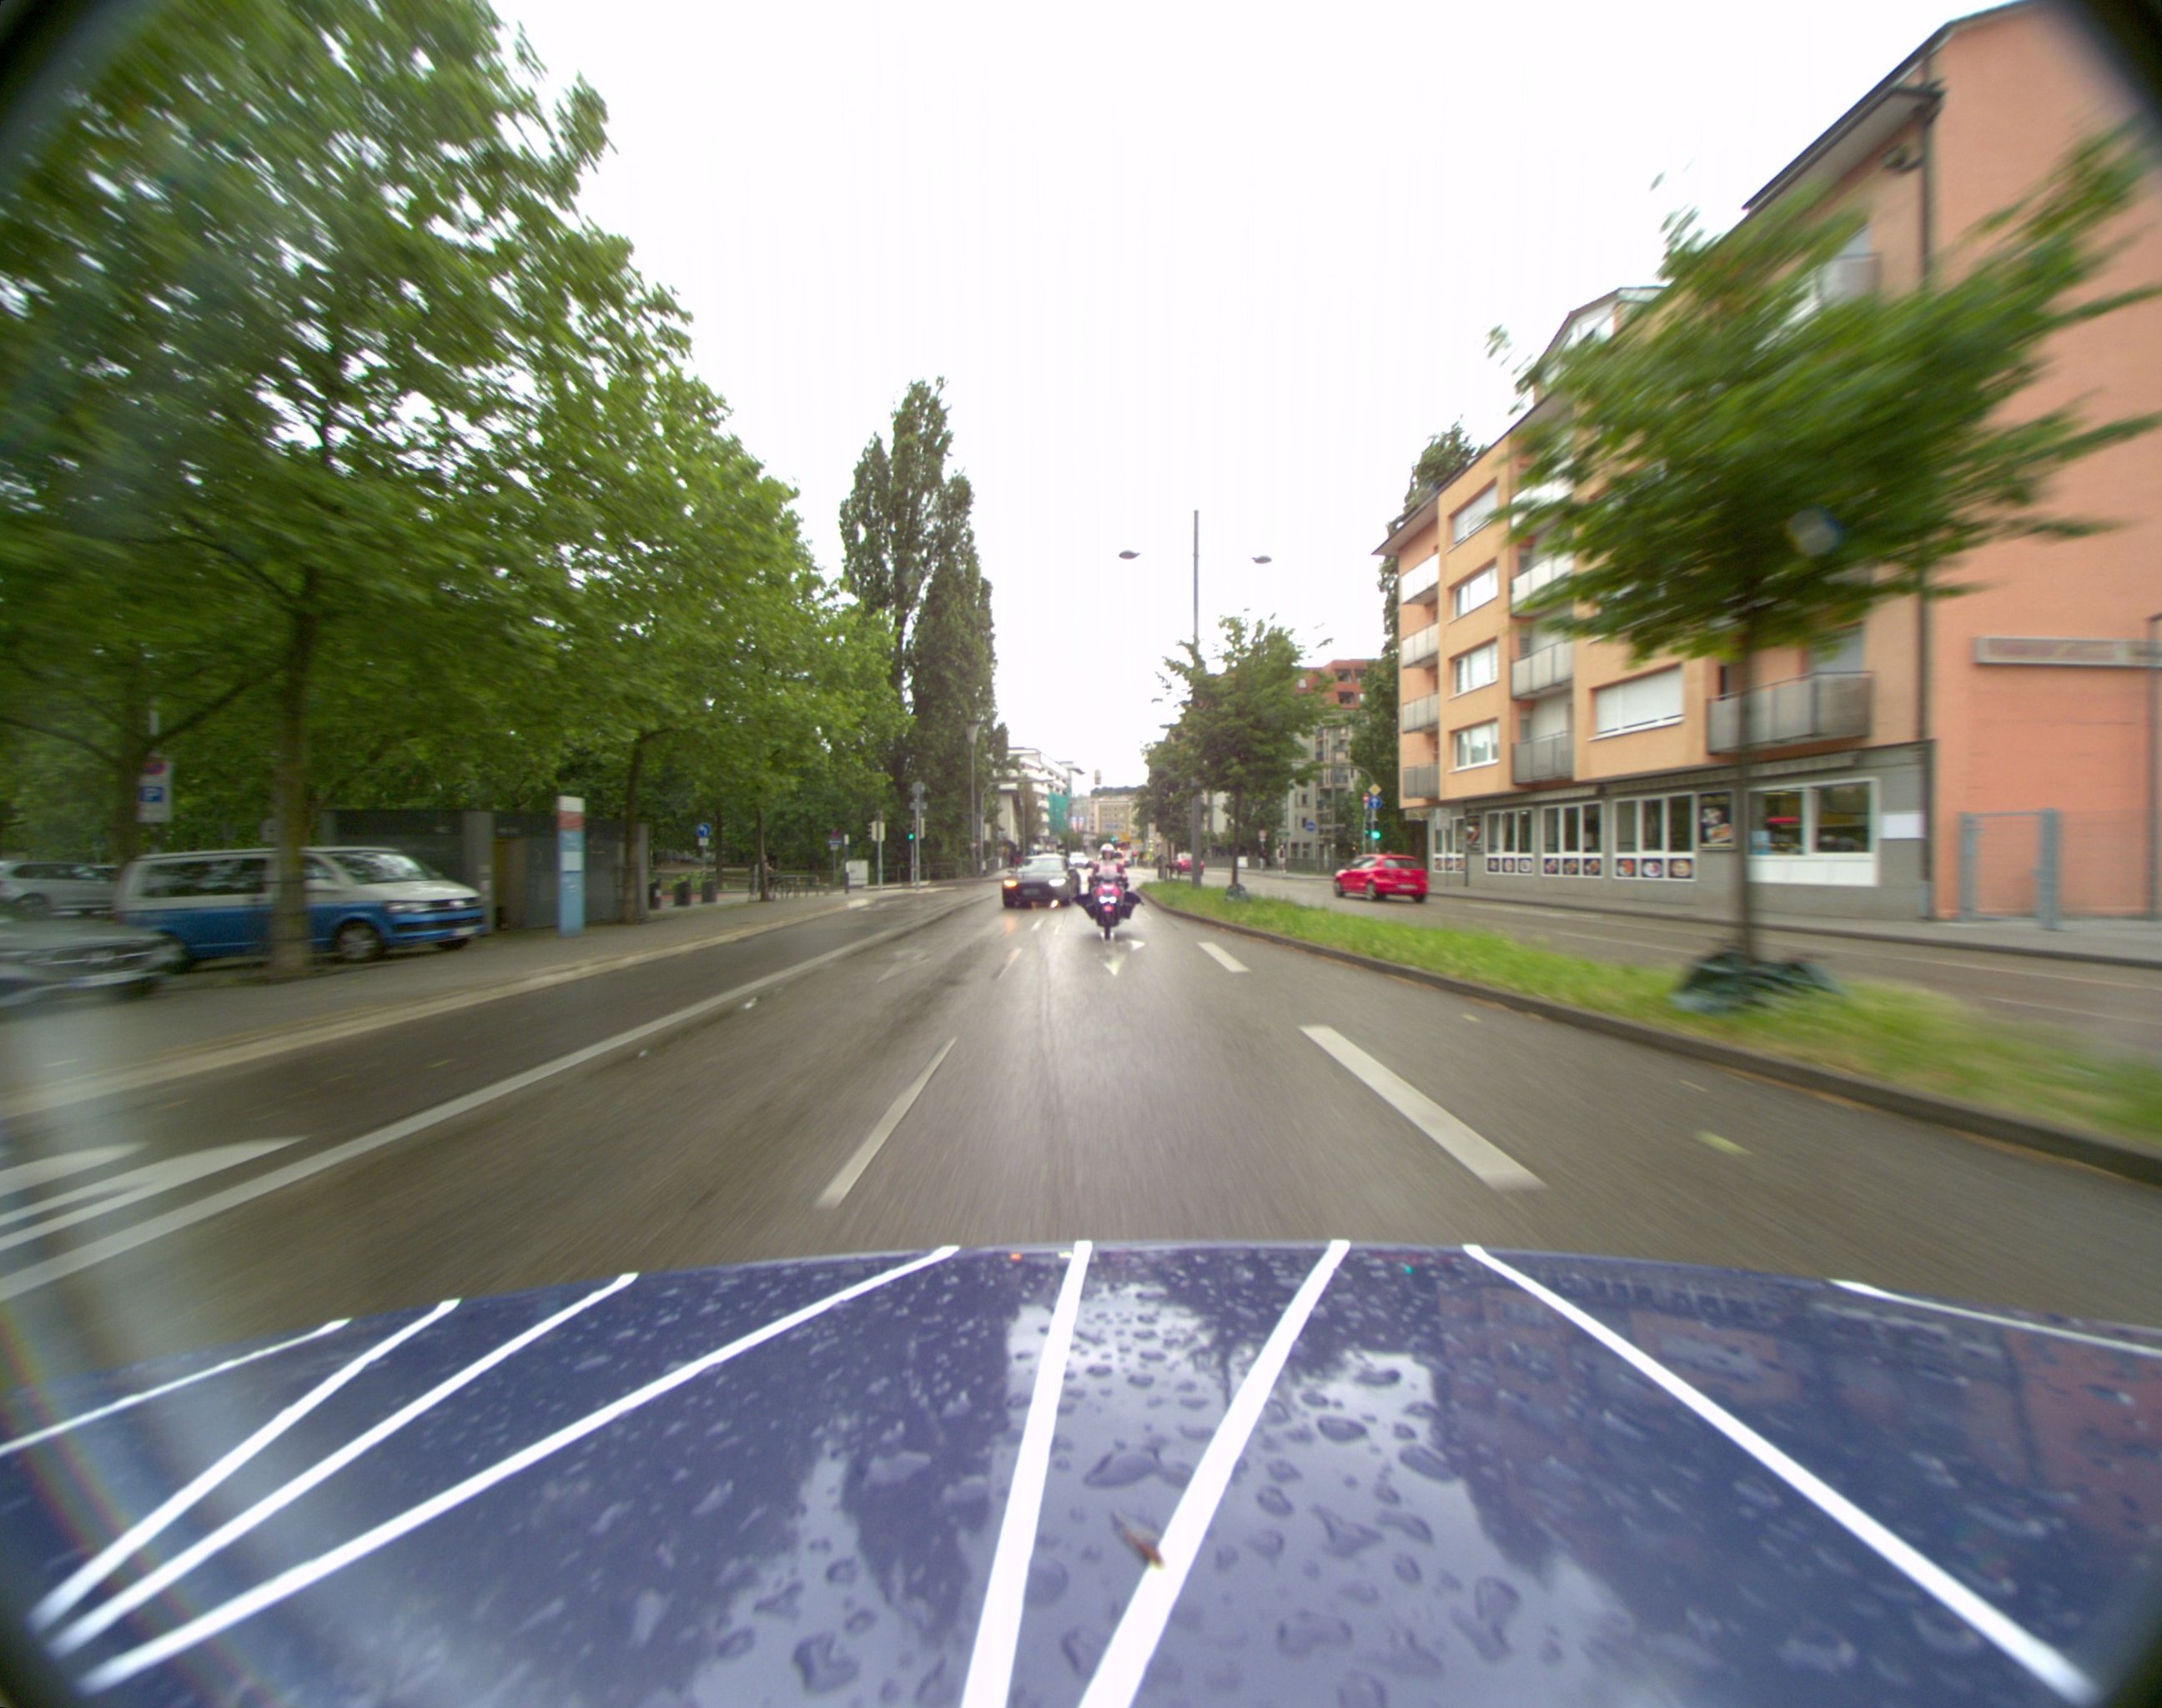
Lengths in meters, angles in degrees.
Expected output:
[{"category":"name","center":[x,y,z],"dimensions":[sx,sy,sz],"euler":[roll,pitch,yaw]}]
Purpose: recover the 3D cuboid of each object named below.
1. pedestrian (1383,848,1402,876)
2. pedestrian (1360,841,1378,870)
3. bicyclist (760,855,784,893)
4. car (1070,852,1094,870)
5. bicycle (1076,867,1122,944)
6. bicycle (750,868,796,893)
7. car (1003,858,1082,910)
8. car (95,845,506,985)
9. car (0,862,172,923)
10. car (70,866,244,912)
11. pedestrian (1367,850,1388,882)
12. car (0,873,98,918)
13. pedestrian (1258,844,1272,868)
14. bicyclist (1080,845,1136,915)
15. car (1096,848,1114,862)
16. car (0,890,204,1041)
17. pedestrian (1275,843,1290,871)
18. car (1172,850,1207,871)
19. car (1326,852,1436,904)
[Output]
[{"category":"pedestrian","center":[17.852,0.453,43.570],"dimensions":[0.684,1.639,0.744],"euler":[0,1,-39]},{"category":"pedestrian","center":[16.779,0.081,44.286],"dimensions":[0.748,1.681,0.681],"euler":[0,1,-34]},{"category":"bicyclist","center":[-14.470,0.929,35.610],"dimensions":[0.988,1.760,0.795],"euler":[-1,1,-18]},{"category":"car","center":[0.026,0.660,73.006],"dimensions":[1.897,1.566,4.359],"euler":[2,-1,-5]},{"category":"bicycle","center":[0.303,0.928,14.178],"dimensions":[0.717,1.297,2.428],"euler":[2,-2,-1]},{"category":"bicycle","center":[-14.441,1.228,35.676],"dimensions":[1.935,1.088,0.649],"euler":[0,1,-18]},{"category":"car","center":[-1.086,0.854,23.416],"dimensions":[1.896,1.396,4.362],"euler":[1,0,4]},{"category":"car","center":[-12.898,0.947,12.805],"dimensions":[4.847,1.931,1.950],"euler":[-3,1,1]},{"category":"car","center":[-31.677,1.125,23.523],"dimensions":[1.781,1.678,4.443],"euler":[-1,0,-3]},{"category":"car","center":[-34.541,1.271,28.591],"dimensions":[1.781,1.498,3.880],"euler":[-1,0,-1]},{"category":"pedestrian","center":[13.880,0.567,35.554],"dimensions":[0.561,1.433,0.608],"euler":[-4,0,-22]},{"category":"car","center":[-39.398,1.537,27.823],"dimensions":[1.717,1.538,3.880],"euler":[-1,0,-1]},{"category":"pedestrian","center":[13.294,0.145,55.020],"dimensions":[0.767,1.685,0.799],"euler":[0,1,-5]},{"category":"bicyclist","center":[0.501,0.480,13.891],"dimensions":[0.962,1.218,0.715],"euler":[-1,-3,4]},{"category":"car","center":[2.604,0.066,82.763],"dimensions":[1.670,1.456,3.253],"euler":[0,0,-4]},{"category":"car","center":[-13.012,1.250,8.274],"dimensions":[4.750,1.397,1.862],"euler":[-3,1,1]},{"category":"pedestrian","center":[13.577,0.194,51.285],"dimensions":[0.746,1.876,0.799],"euler":[0,0,-5]},{"category":"car","center":[7.381,0.412,52.053],"dimensions":[1.571,1.385,3.833],"euler":[2,0,-3]},{"category":"car","center":[9.355,0.693,24.065],"dimensions":[1.608,1.422,3.943],"euler":[2,0,-5]}]
